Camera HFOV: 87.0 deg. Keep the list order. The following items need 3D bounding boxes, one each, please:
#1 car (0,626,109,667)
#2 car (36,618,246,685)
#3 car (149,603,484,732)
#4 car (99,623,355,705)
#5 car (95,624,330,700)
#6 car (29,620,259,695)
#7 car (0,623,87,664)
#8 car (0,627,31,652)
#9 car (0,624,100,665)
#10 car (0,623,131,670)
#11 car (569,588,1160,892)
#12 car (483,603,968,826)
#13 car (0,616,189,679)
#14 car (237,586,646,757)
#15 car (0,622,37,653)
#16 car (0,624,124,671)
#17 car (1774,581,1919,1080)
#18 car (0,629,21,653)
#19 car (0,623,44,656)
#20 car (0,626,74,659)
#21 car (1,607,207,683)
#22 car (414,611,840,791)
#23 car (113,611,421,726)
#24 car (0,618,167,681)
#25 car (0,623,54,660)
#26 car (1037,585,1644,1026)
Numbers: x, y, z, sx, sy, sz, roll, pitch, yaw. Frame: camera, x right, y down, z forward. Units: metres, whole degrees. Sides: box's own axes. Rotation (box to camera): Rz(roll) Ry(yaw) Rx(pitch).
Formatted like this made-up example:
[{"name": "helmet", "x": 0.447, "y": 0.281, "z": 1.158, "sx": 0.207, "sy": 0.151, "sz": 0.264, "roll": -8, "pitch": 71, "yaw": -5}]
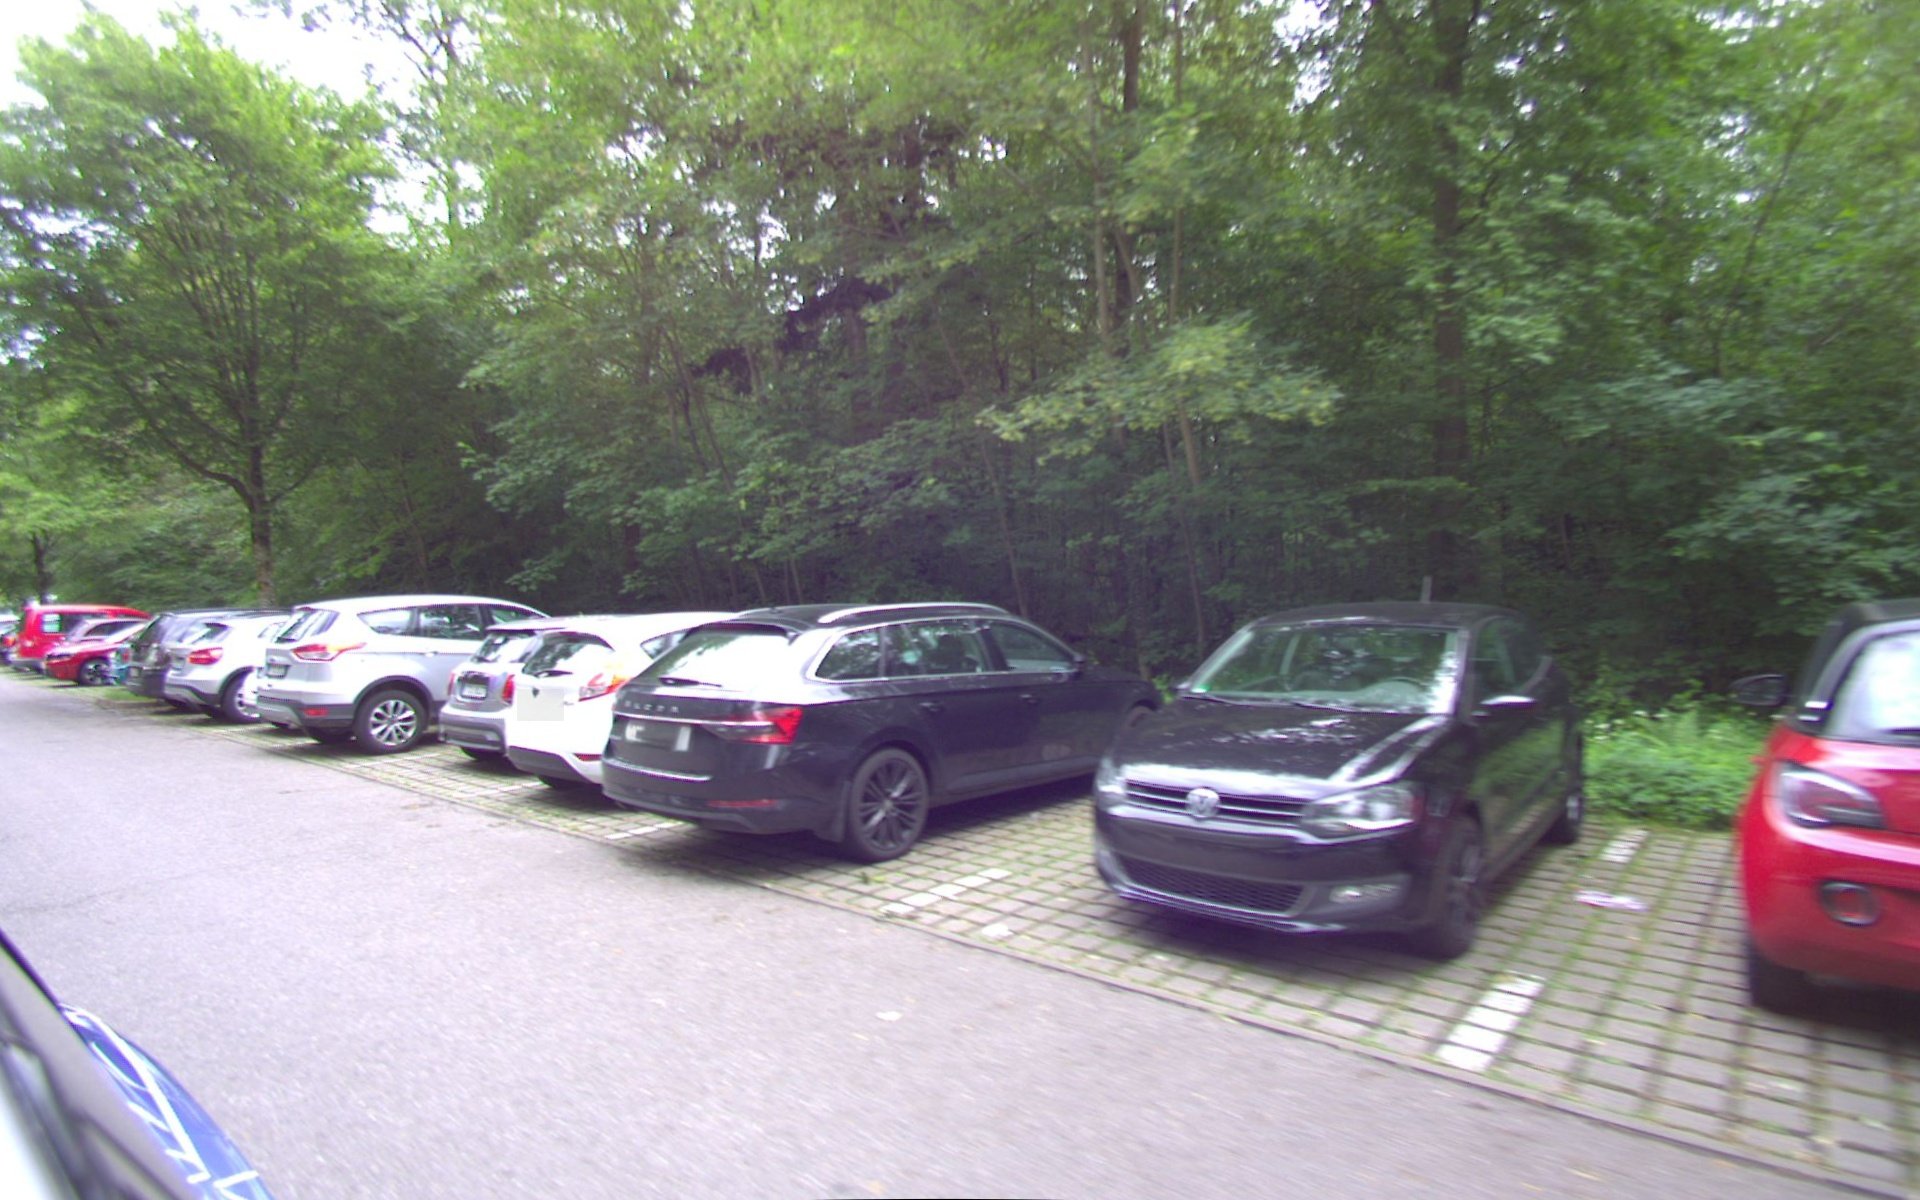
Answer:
[{"name": "car", "x": -35.393, "y": 1.764, "z": 38.738, "sx": 1.819, "sy": 1.467, "sz": 4.163, "roll": -2, "pitch": -1, "yaw": 45}, {"name": "car", "x": -20.799, "y": 1.254, "z": 25.813, "sx": 1.817, "sy": 1.527, "sz": 3.945, "roll": -2, "pitch": -1, "yaw": 41}, {"name": "car", "x": -9.568, "y": 0.909, "z": 15.285, "sx": 1.814, "sy": 1.675, "sz": 3.945, "roll": -2, "pitch": -1, "yaw": 41}, {"name": "car", "x": -14.660, "y": 1.209, "z": 20.394, "sx": 1.696, "sy": 1.459, "sz": 3.943, "roll": -2, "pitch": -1, "yaw": 43}, {"name": "car", "x": -16.590, "y": 1.307, "z": 22.590, "sx": 1.770, "sy": 1.459, "sz": 3.945, "roll": -2, "pitch": -1, "yaw": 41}, {"name": "car", "x": -18.899, "y": 1.277, "z": 23.571, "sx": 1.770, "sy": 1.527, "sz": 3.945, "roll": -2, "pitch": -1, "yaw": 41}, {"name": "car", "x": -39.090, "y": 1.816, "z": 42.086, "sx": 1.710, "sy": 1.528, "sz": 3.952, "roll": -1, "pitch": 0, "yaw": 36}, {"name": "car", "x": -59.143, "y": 2.428, "z": 61.320, "sx": 1.711, "sy": 1.489, "sz": 3.949, "roll": -1, "pitch": -1, "yaw": 38}, {"name": "car", "x": -37.258, "y": 1.769, "z": 40.486, "sx": 1.817, "sy": 1.549, "sz": 4.167, "roll": -2, "pitch": -1, "yaw": 41}, {"name": "car", "x": -30.158, "y": 1.519, "z": 33.571, "sx": 1.742, "sy": 1.432, "sz": 3.943, "roll": -2, "pitch": -1, "yaw": 43}, {"name": "car", "x": -0.404, "y": 0.691, "z": 7.003, "sx": 1.677, "sy": 1.446, "sz": 3.944, "roll": -2, "pitch": 0, "yaw": 43}, {"name": "car", "x": -1.858, "y": 0.788, "z": 8.933, "sx": 1.648, "sy": 1.446, "sz": 3.944, "roll": 1, "pitch": 1, "yaw": 43}, {"name": "car", "x": -24.475, "y": 1.283, "z": 28.672, "sx": 1.741, "sy": 1.609, "sz": 3.943, "roll": -2, "pitch": -1, "yaw": 43}, {"name": "car", "x": -5.980, "y": 0.714, "z": 12.041, "sx": 1.813, "sy": 1.675, "sz": 3.947, "roll": -2, "pitch": -1, "yaw": 39}, {"name": "car", "x": -55.463, "y": 2.215, "z": 57.729, "sx": 1.711, "sy": 1.683, "sz": 3.949, "roll": -2, "pitch": 0, "yaw": 38}, {"name": "car", "x": -31.817, "y": 1.631, "z": 35.213, "sx": 1.739, "sy": 1.453, "sz": 3.949, "roll": -1, "pitch": 0, "yaw": 38}, {"name": "car", "x": 4.554, "y": 0.646, "z": 4.078, "sx": 1.702, "sy": 1.446, "sz": 3.944, "roll": -2, "pitch": 0, "yaw": 43}, {"name": "car", "x": -60.987, "y": 2.571, "z": 62.663, "sx": 1.711, "sy": 1.489, "sz": 3.949, "roll": -1, "pitch": -1, "yaw": 38}, {"name": "car", "x": -51.949, "y": 2.135, "z": 54.270, "sx": 1.711, "sy": 1.722, "sz": 3.949, "roll": -1, "pitch": -1, "yaw": 38}, {"name": "car", "x": -44.338, "y": 2.018, "z": 47.451, "sx": 1.710, "sy": 1.381, "sz": 3.952, "roll": -2, "pitch": 0, "yaw": 36}, {"name": "car", "x": -22.573, "y": 1.121, "z": 26.796, "sx": 1.817, "sy": 1.828, "sz": 3.946, "roll": -2, "pitch": -1, "yaw": 40}, {"name": "car", "x": -3.342, "y": 0.900, "z": 10.762, "sx": 1.813, "sy": 1.432, "sz": 3.947, "roll": -2, "pitch": 0, "yaw": 39}, {"name": "car", "x": -11.426, "y": 1.038, "z": 16.905, "sx": 1.694, "sy": 1.675, "sz": 3.947, "roll": -1, "pitch": -1, "yaw": 39}, {"name": "car", "x": -26.238, "y": 1.420, "z": 30.082, "sx": 1.741, "sy": 1.609, "sz": 3.944, "roll": -2, "pitch": 0, "yaw": 43}, {"name": "car", "x": -46.531, "y": 2.019, "z": 48.864, "sx": 1.711, "sy": 1.740, "sz": 3.949, "roll": -1, "pitch": -1, "yaw": 38}, {"name": "car", "x": 2.309, "y": 0.690, "z": 5.442, "sx": 1.677, "sy": 1.446, "sz": 3.944, "roll": -2, "pitch": 0, "yaw": 43}]
